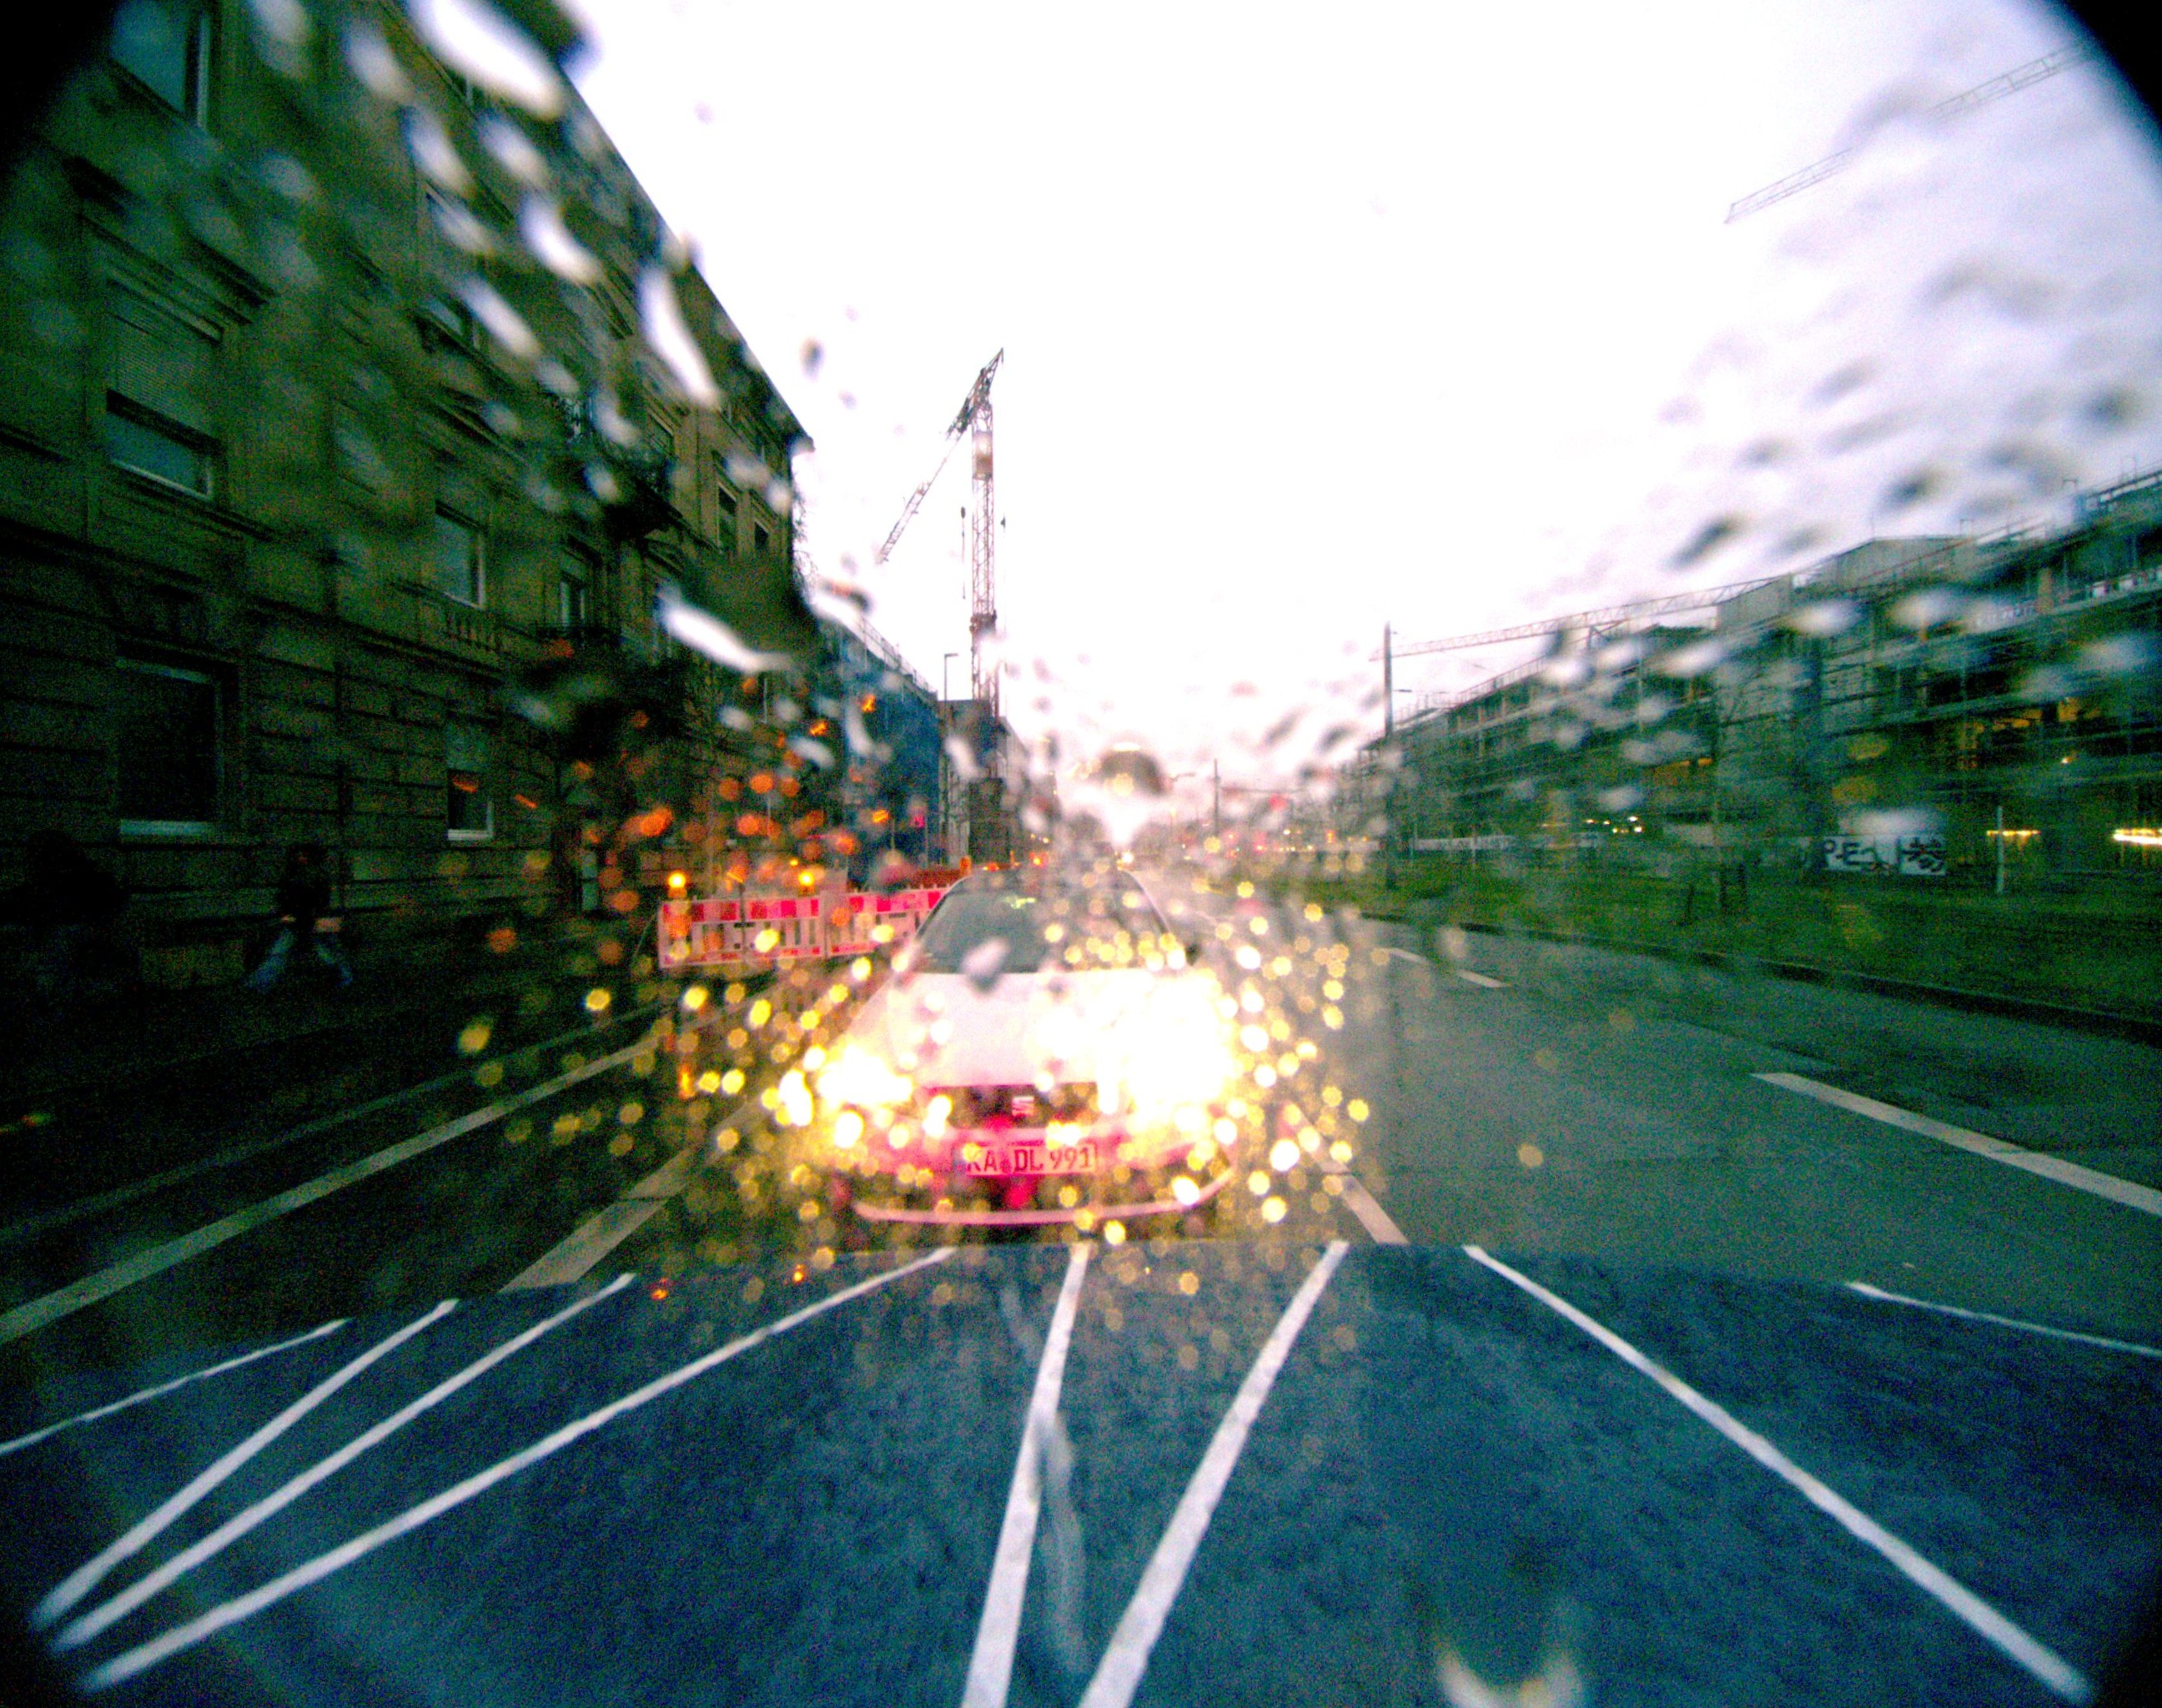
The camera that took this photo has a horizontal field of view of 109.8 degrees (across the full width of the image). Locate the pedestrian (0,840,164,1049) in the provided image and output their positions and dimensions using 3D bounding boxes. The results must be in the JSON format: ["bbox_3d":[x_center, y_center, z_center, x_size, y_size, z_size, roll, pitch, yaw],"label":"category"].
[{"bbox_3d":[-8.604,0.722,6.405,0.870,1.663,0.707,0,1,3],"label":"pedestrian"}]

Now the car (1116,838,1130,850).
[{"bbox_3d":[5.923,-1.388,107.054,1.768,1.614,3.900,-3,1,4],"label":"car"}]

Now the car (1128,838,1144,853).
[{"bbox_3d":[6.320,-0.998,87.362,1.768,1.614,3.900,-3,1,4],"label":"car"}]

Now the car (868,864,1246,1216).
[{"bbox_3d":[-0.118,0.933,5.640,1.769,1.504,3.899,-3,1,0],"label":"car"}]

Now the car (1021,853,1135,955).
[{"bbox_3d":[-0.050,0.801,14.162,1.769,1.504,3.899,-3,1,0],"label":"car"}]

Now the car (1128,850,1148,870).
[{"bbox_3d":[5.190,0.524,69.604,1.768,1.614,3.900,-3,1,4],"label":"car"}]

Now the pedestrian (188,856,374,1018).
[{"bbox_3d":[-8.064,0.795,7.717,0.870,1.536,0.929,0,1,1],"label":"pedestrian"}]

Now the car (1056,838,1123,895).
[{"bbox_3d":[0.224,0.298,22.985,1.769,1.504,3.899,-3,1,0],"label":"car"}]

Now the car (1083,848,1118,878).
[{"bbox_3d":[1.055,0.461,42.863,1.769,1.504,3.899,-3,1,0],"label":"car"}]
